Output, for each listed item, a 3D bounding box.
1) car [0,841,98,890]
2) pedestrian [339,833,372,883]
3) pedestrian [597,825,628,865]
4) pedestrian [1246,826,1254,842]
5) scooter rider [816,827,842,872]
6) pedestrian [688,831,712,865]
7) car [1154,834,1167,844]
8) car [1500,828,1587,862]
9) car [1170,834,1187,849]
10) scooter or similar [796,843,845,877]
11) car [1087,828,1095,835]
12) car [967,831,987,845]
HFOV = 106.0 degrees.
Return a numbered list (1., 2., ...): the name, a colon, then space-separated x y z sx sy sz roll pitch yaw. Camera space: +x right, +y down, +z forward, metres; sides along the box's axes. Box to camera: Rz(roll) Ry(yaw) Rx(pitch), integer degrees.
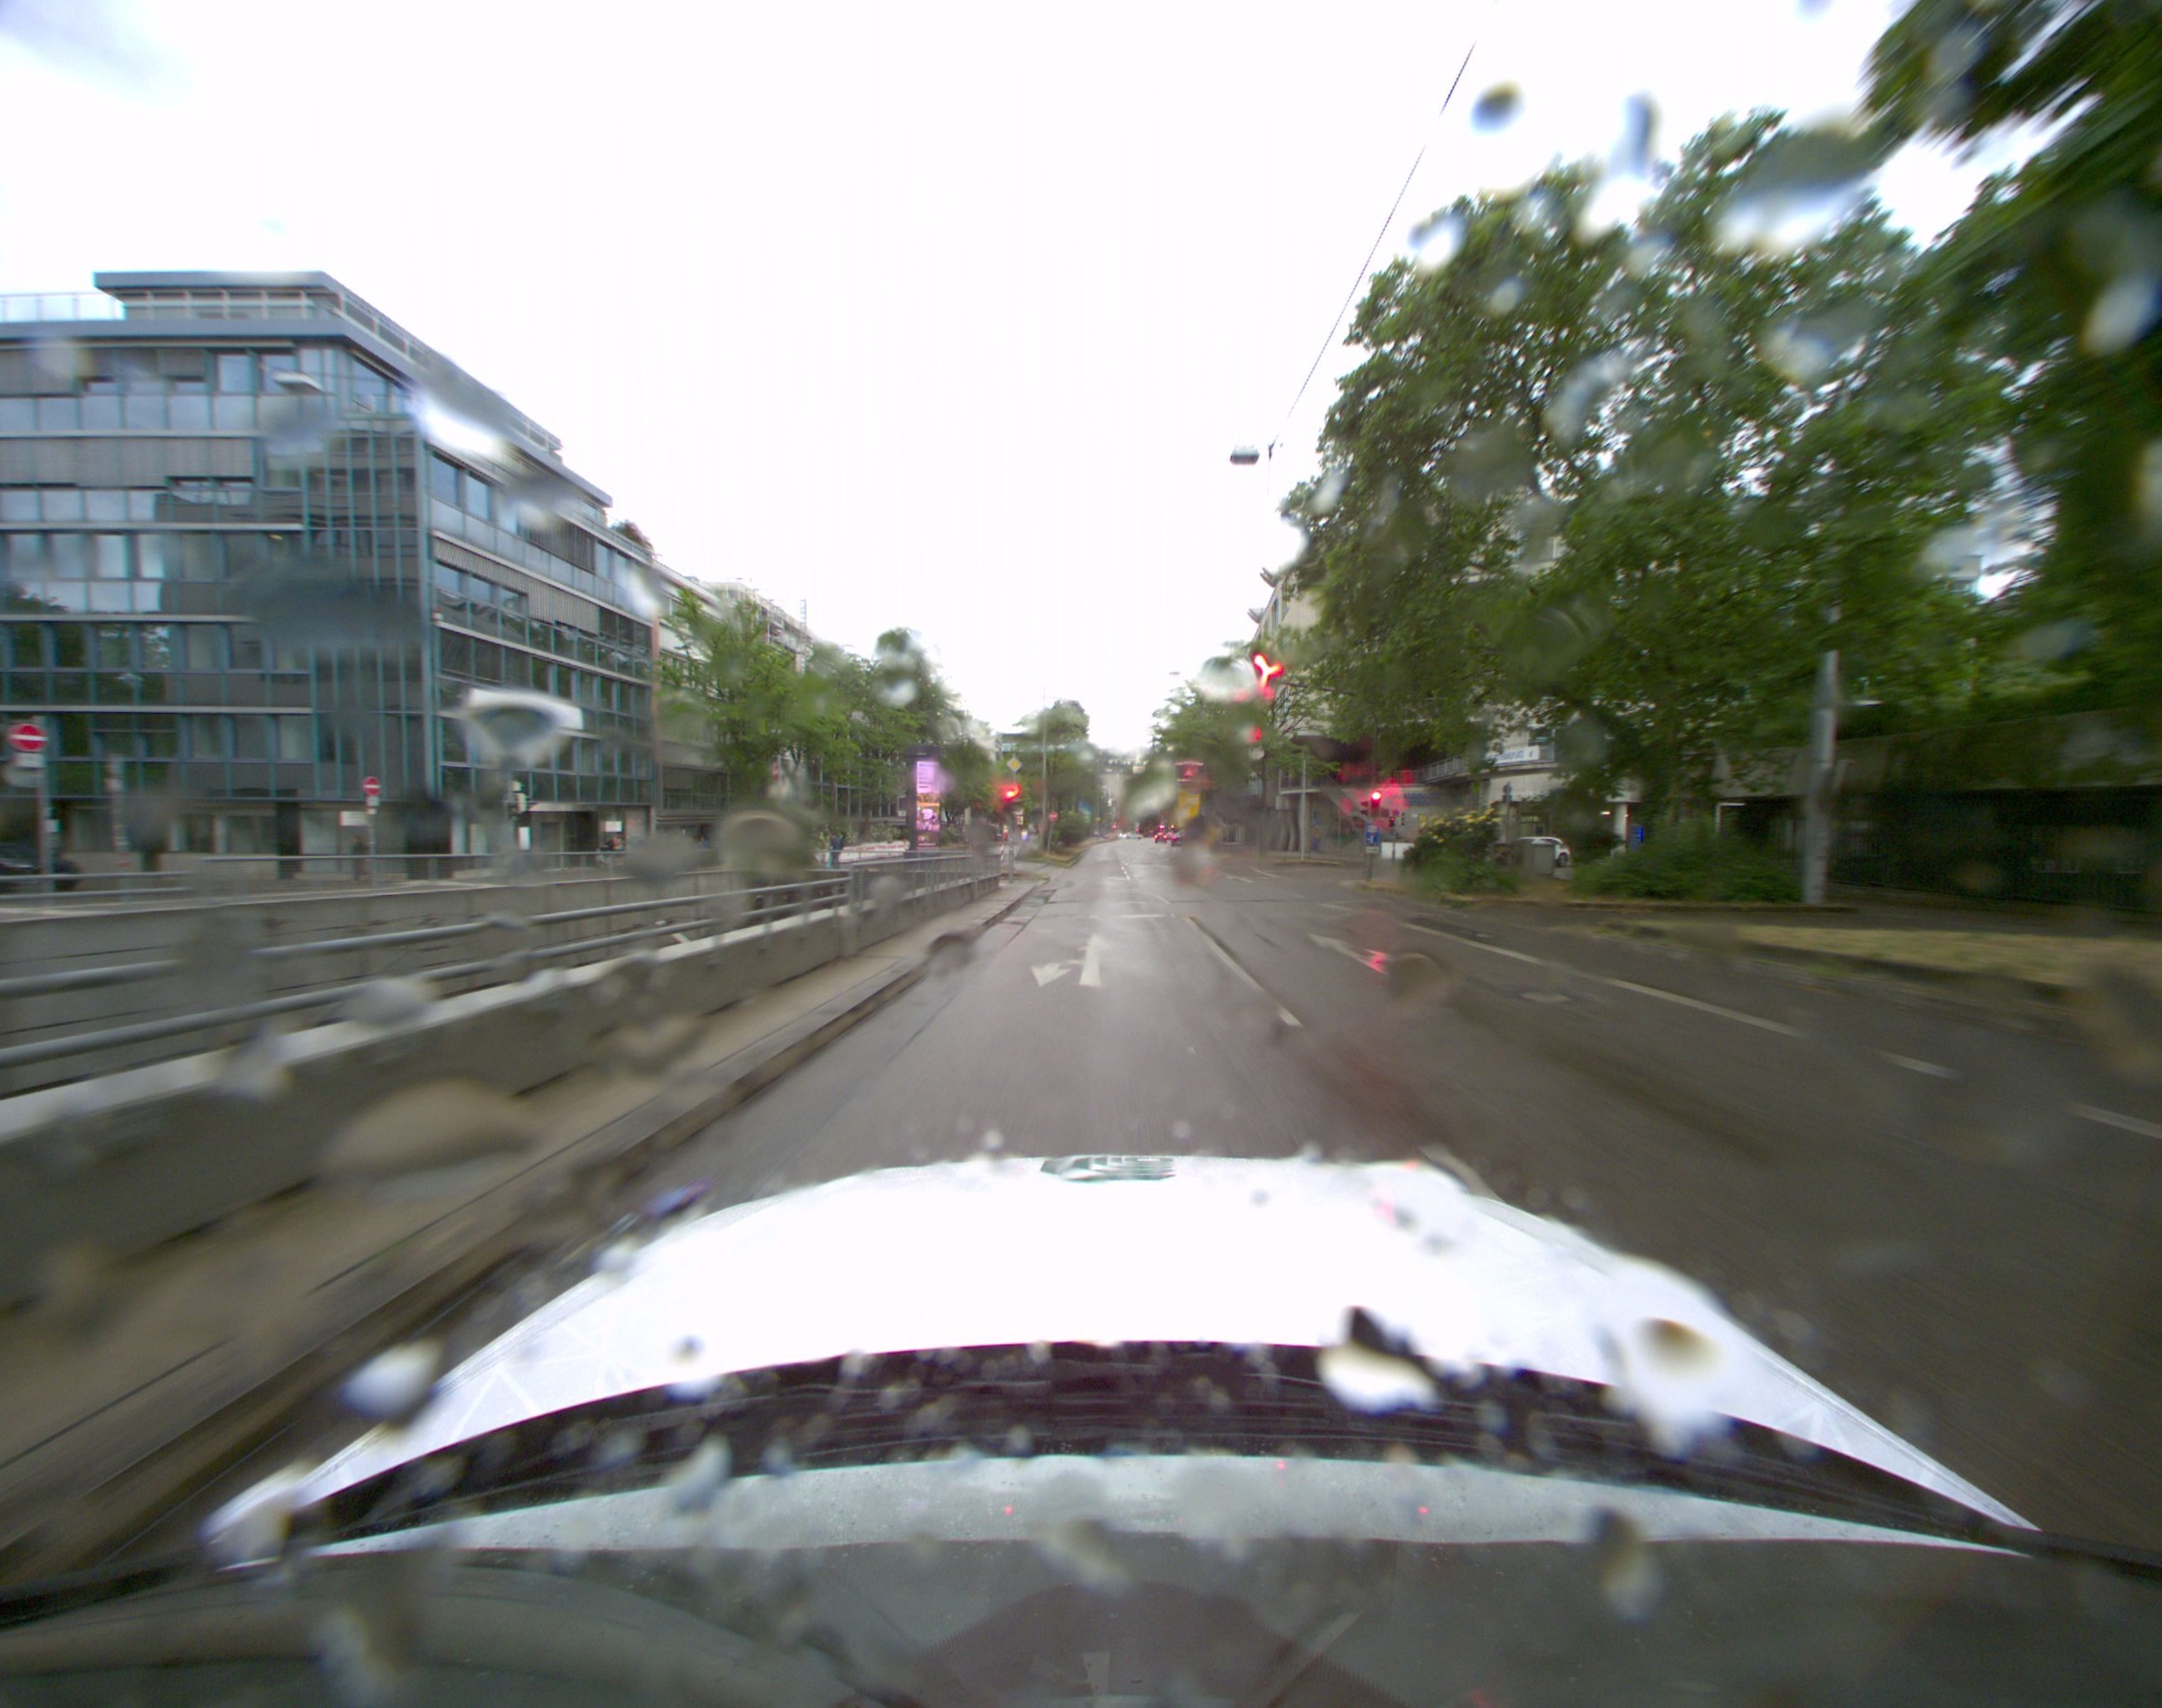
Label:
1. car: -33.234 0.321 25.063 3.868 1.426 1.813 0 1 3
2. pedestrian: -24.584 0.127 27.589 0.662 1.671 0.488 0 0 0
3. pedestrian: -22.503 -0.445 39.141 0.857 1.868 0.964 1 1 20
4. pedestrian: 16.581 -1.947 79.916 0.782 1.557 0.534 1 1 7
5. scooter rider: -10.982 -0.198 35.487 0.817 1.948 0.811 1 1 0
6. pedestrian: -21.147 -0.350 45.177 0.873 1.868 0.867 1 1 2
7. car: 12.308 -2.384 126.431 1.739 1.519 4.108 1 1 2
8. car: 24.514 -0.463 43.136 4.362 1.684 1.738 0 1 -24
9. car: 11.652 -1.492 97.701 1.892 1.683 3.917 1 1 6
10. scooter or similar: -11.340 0.264 35.440 1.943 1.418 0.547 1 1 -2
11. car: 2.900 -6.603 239.215 2.118 2.164 5.204 1 1 4
12. car: -12.453 -1.933 97.854 1.774 1.555 3.895 1 3 1
